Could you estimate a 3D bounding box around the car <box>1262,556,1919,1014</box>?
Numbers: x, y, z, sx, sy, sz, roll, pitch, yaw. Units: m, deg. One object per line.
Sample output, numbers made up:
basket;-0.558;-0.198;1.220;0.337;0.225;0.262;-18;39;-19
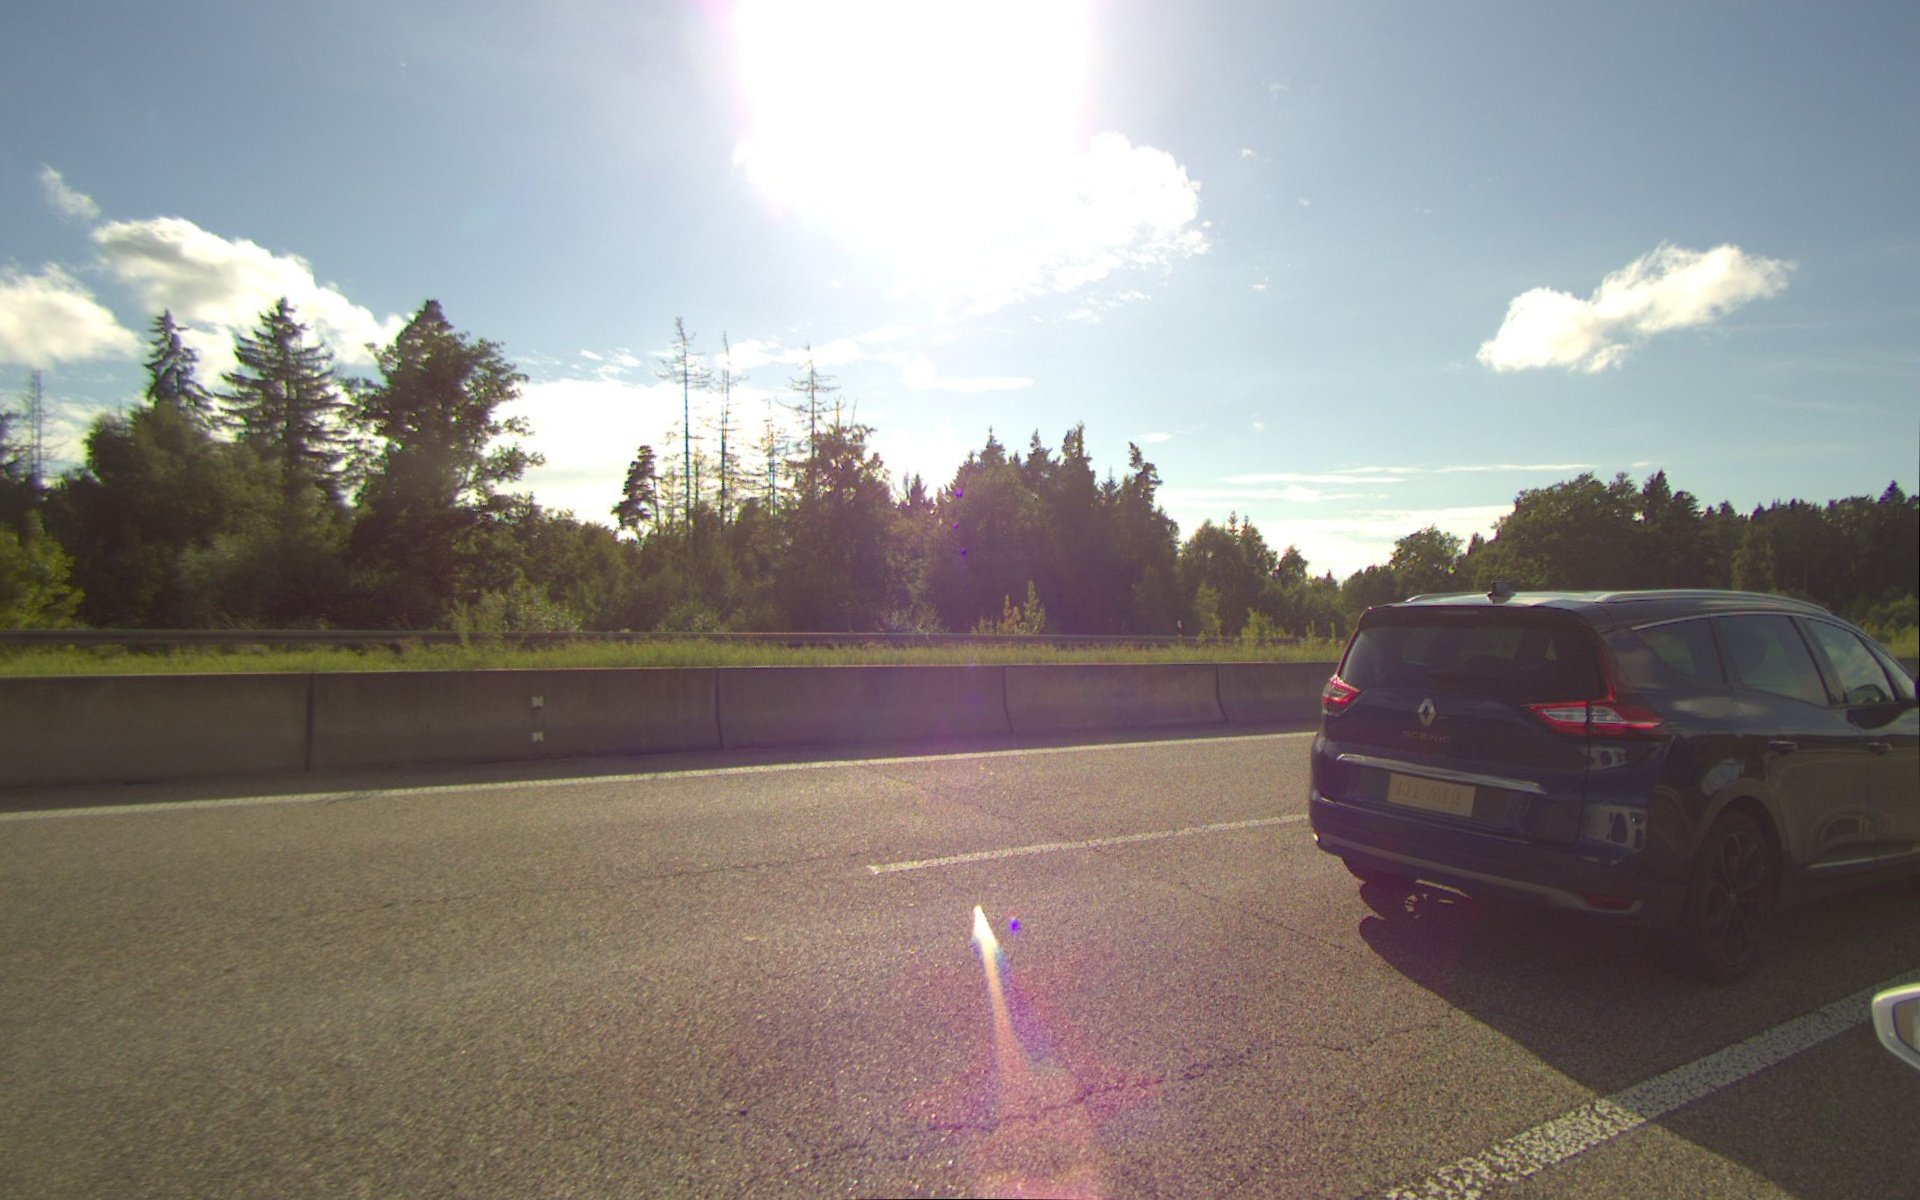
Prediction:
car;4.094;0.752;5.768;4.474;1.729;1.985;1;-1;-29
